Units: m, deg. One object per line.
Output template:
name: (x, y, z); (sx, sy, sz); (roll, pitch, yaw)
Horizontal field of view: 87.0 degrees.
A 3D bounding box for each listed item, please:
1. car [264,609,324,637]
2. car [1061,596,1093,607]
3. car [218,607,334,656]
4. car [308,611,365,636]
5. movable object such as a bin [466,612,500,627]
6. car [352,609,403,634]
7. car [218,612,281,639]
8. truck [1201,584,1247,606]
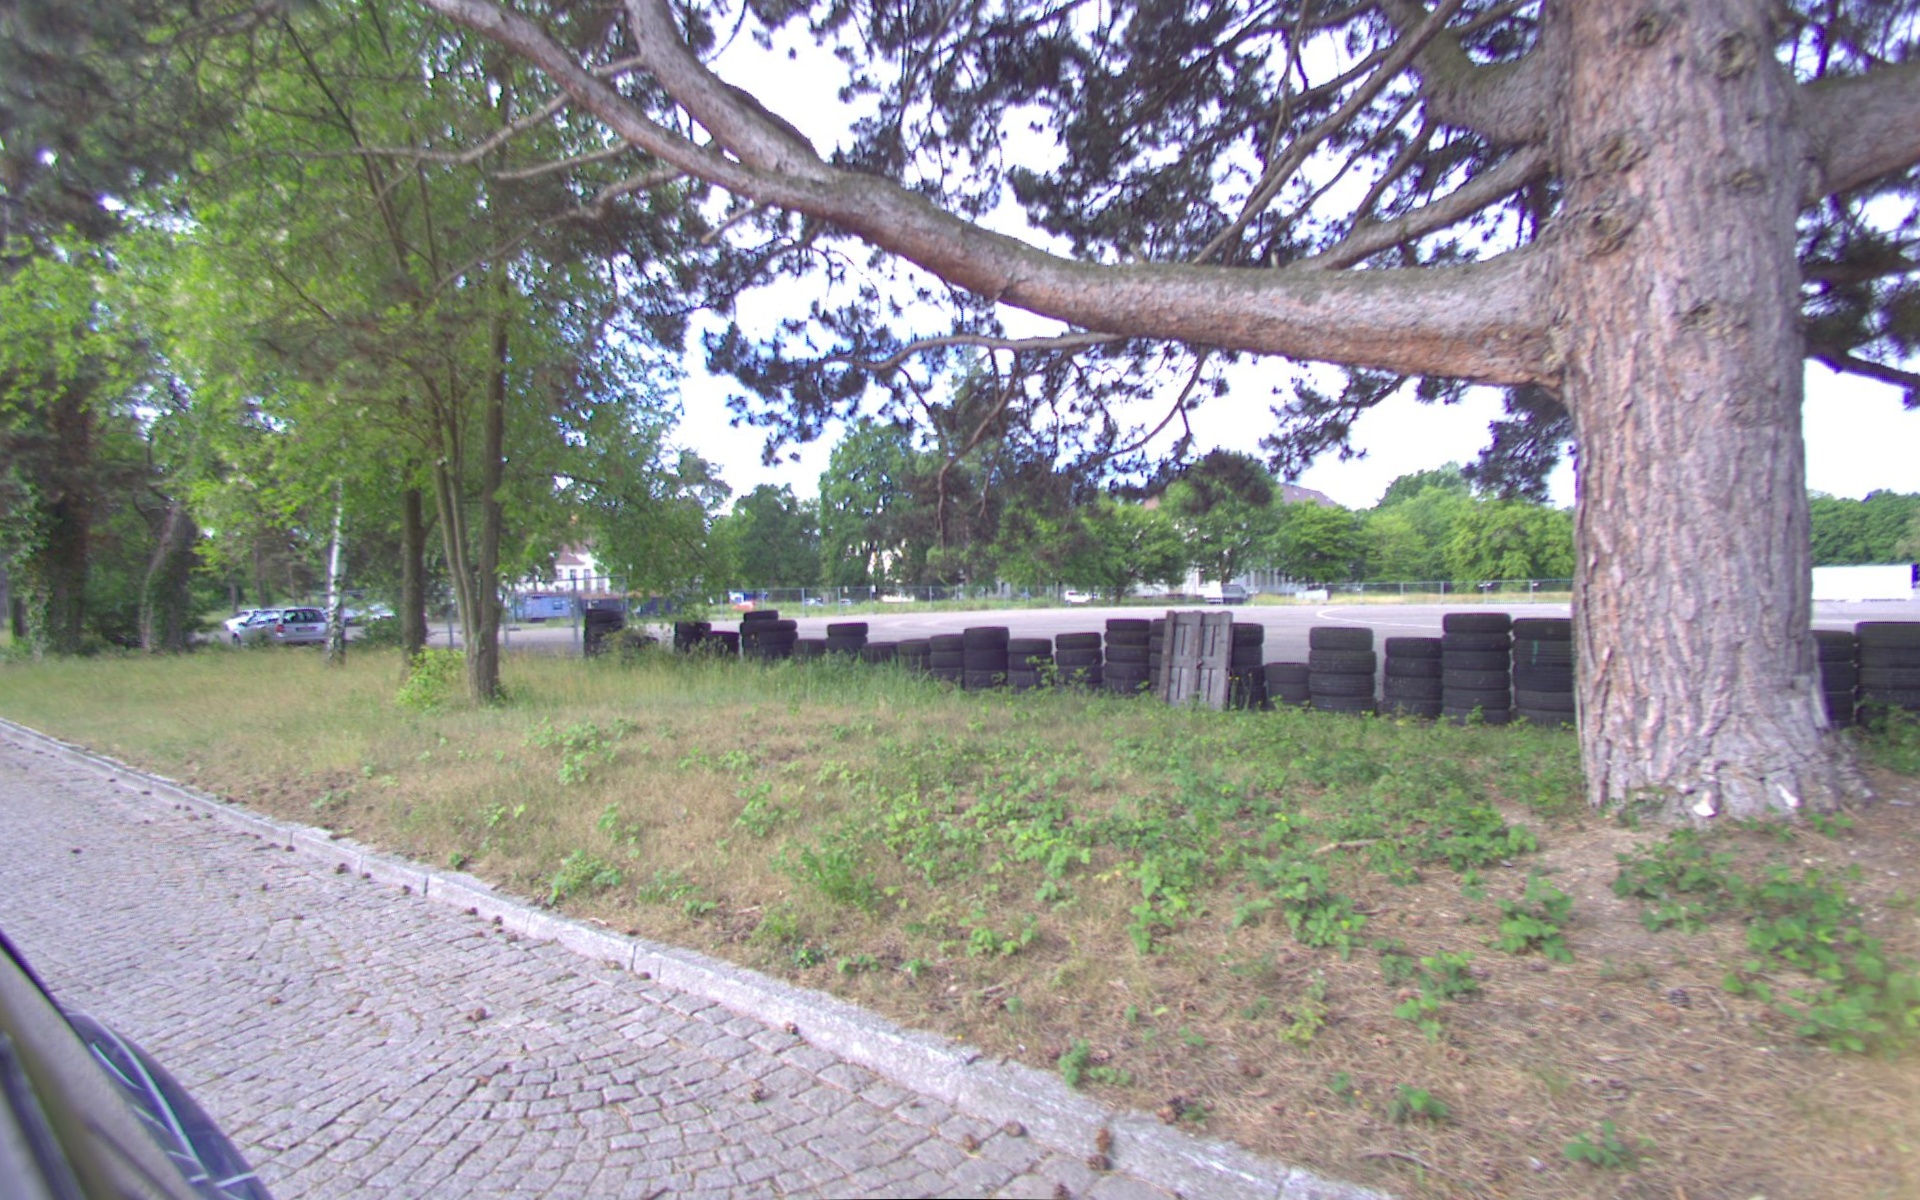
car: (-43.760, 1.508, 66.452); (4.575, 1.590, 1.819); (-4, -1, 36)
car: (18.184, 0.188, 157.057); (4.575, 1.645, 1.819); (-1, 0, 36)
car: (-22.247, 1.003, 32.846); (4.458, 1.449, 1.700); (-1, 0, 36)
car: (-42.320, 1.577, 68.653); (4.579, 1.480, 1.817); (-3, -1, 39)
movable object such as a bin: (-29.987, 1.234, 63.652); (1.929, 0.940, 1.030); (-2, -1, 32)
car: (-40.870, 1.506, 70.968); (4.109, 1.533, 1.715); (-4, -1, 39)
car: (-45.129, 1.643, 64.251); (4.646, 1.461, 1.819); (-4, -1, 36)
truck: (28.103, -0.556, 107.719); (2.371, 2.215, 6.472); (-1, 0, 38)
